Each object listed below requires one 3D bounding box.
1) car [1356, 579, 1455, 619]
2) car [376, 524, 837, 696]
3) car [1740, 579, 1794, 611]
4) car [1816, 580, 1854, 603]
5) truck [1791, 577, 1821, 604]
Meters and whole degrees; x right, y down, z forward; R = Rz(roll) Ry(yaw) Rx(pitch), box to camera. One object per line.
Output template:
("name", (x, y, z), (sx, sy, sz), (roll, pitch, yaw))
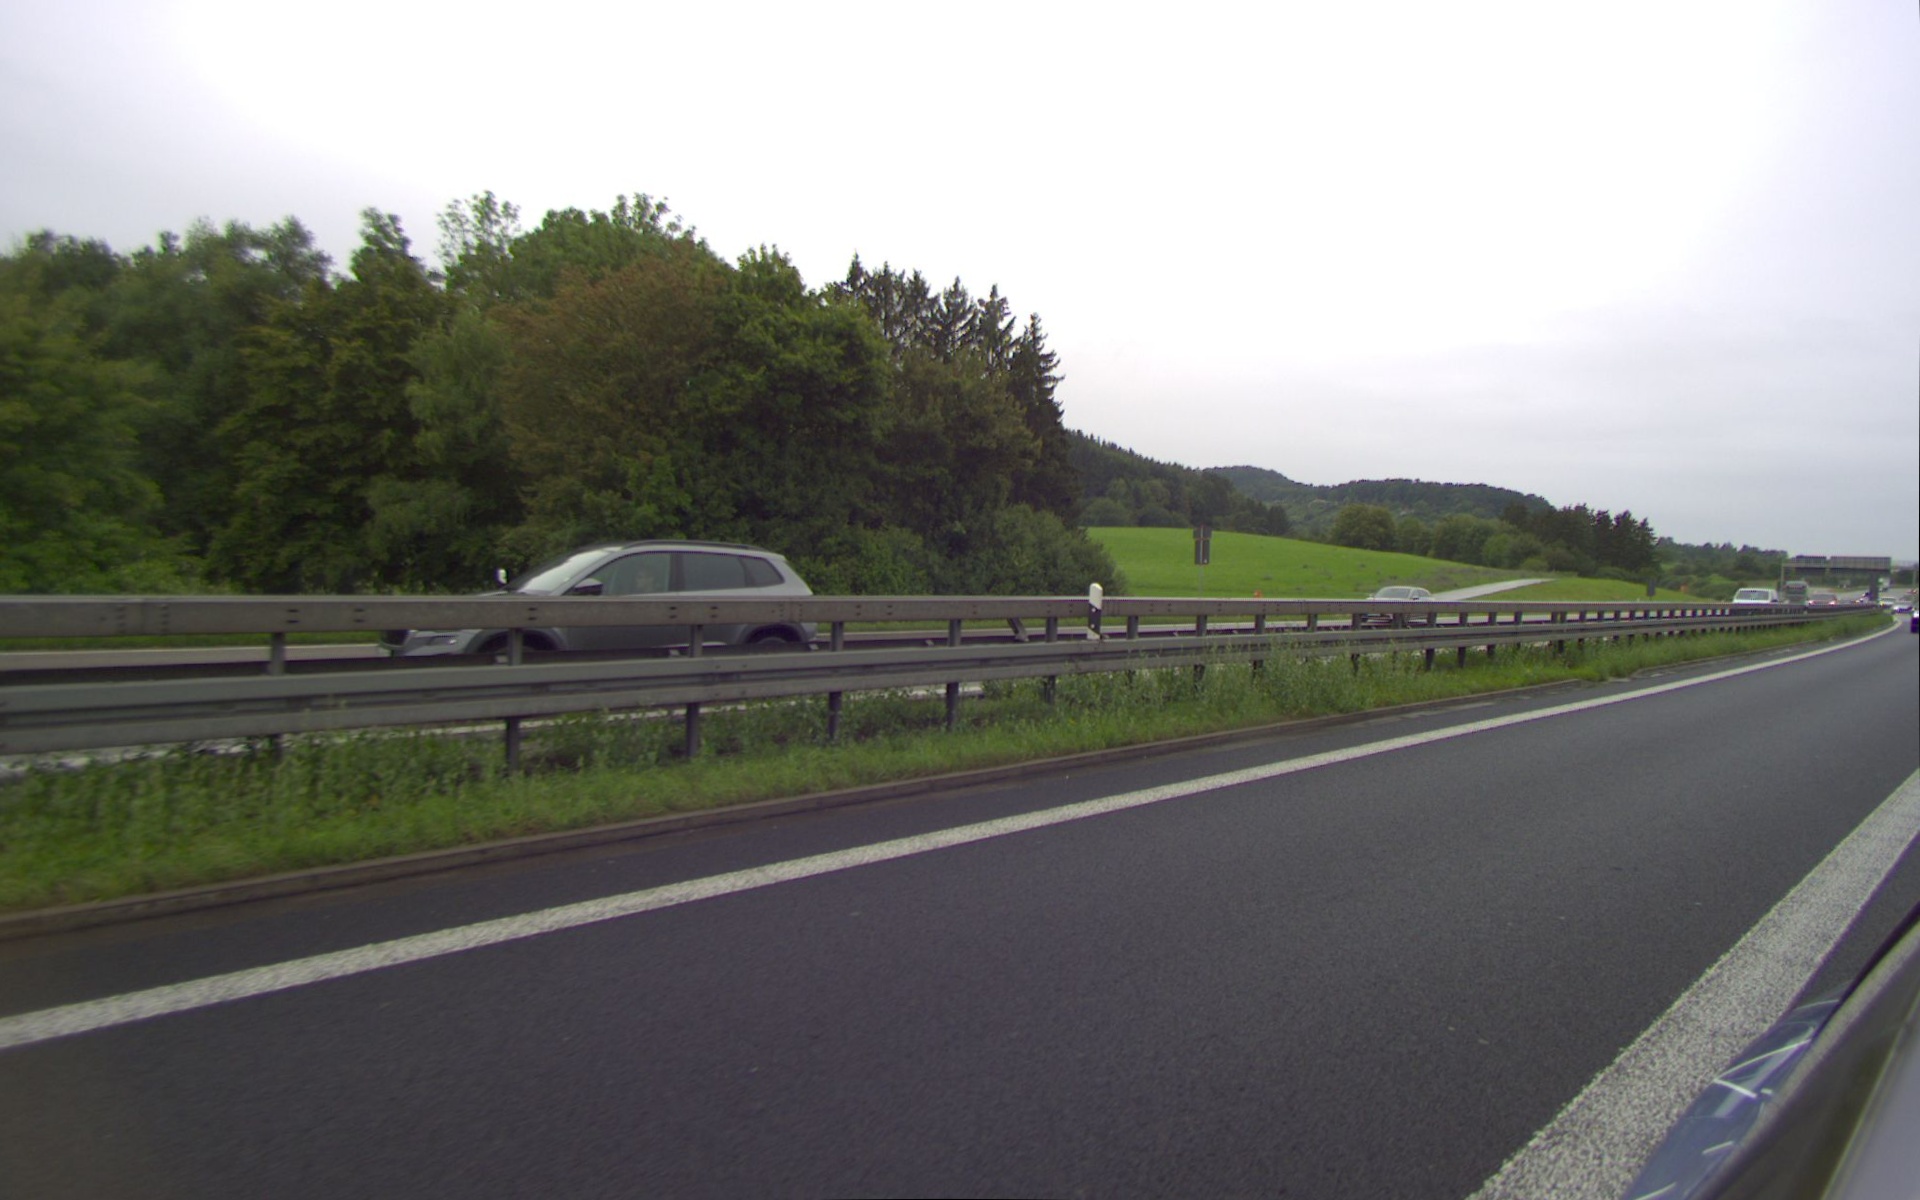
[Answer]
("car", (17.575, -0.085, 39.819), (4.630, 1.473, 1.901), (-1, 1, -43))
("car", (-3.400, 0.020, 10.186), (4.055, 1.399, 1.670), (0, 3, -42))
("car", (46.331, -0.314, 58.077), (1.910, 1.714, 4.643), (1, 1, 45))
("car", (79.500, -0.804, 91.931), (4.993, 2.039, 2.126), (-1, 1, -44))
("truck", (128.210, -1.506, 153.320), (2.792, 3.949, 9.869), (1, 1, 44))
